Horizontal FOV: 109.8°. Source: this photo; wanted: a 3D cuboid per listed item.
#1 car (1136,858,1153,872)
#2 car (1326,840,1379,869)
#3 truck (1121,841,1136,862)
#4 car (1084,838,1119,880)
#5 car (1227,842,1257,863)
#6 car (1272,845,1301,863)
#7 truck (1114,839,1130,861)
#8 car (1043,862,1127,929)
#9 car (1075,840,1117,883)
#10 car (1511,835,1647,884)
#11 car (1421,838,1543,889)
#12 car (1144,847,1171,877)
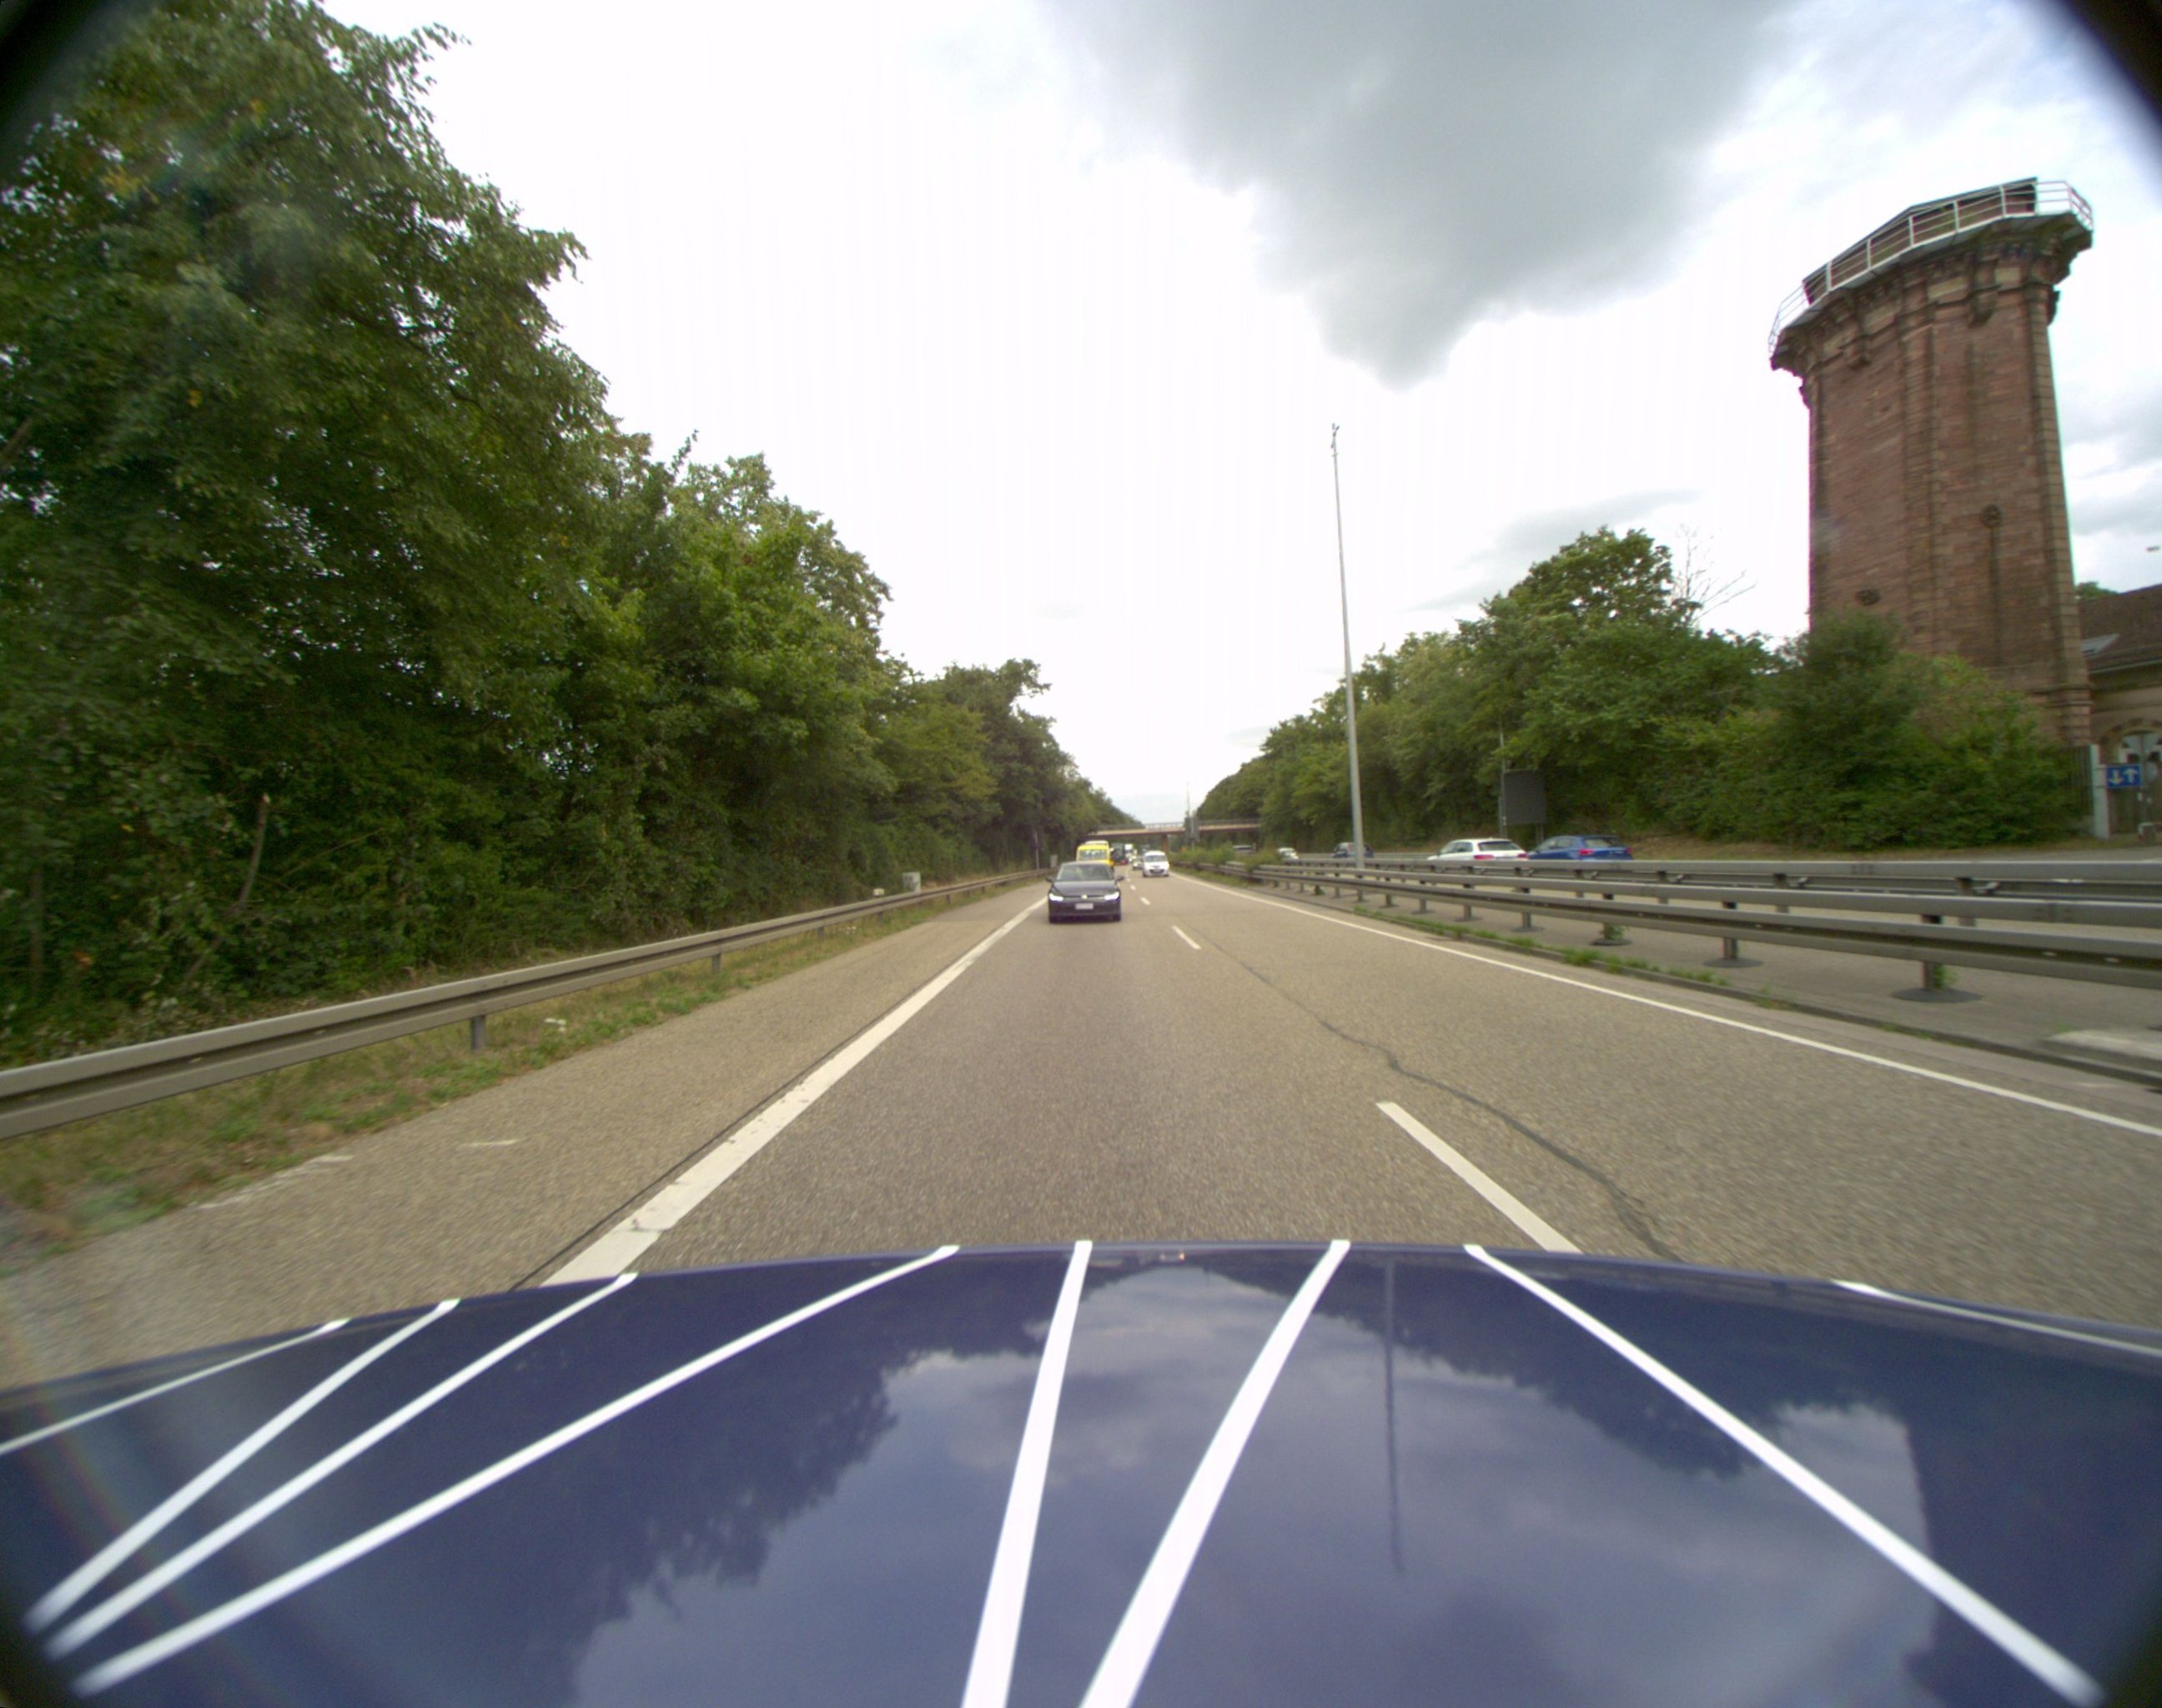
[{"bbox_3d":[6.916,1.139,83.010,1.772,1.416,4.199,-2,0,5],"label":"car"},{"bbox_3d":[16.334,0.014,45.904,1.735,1.592,4.131,-2,0,1],"label":"car"},{"bbox_3d":[10.822,-0.581,172.790,3.098,4.462,12.212,-1,0,5],"label":"truck"},{"bbox_3d":[1.450,0.327,53.004,2.207,2.732,6.168,-2,0,2],"label":"car"},{"bbox_3d":[14.078,-0.159,66.677,1.765,1.759,4.542,-2,0,3],"label":"car"},{"bbox_3d":[18.311,-0.014,67.779,1.632,1.499,3.728,-2,0,2],"label":"car"},{"bbox_3d":[7.127,-0.674,132.358,2.547,3.564,6.458,-1,0,5],"label":"truck"},{"bbox_3d":[0.232,0.971,19.541,1.800,1.398,4.640,-2,0,4],"label":"car"},{"bbox_3d":[0.949,0.404,44.686,2.247,2.334,5.224,-2,0,2],"label":"car"},{"bbox_3d":[16.196,0.157,24.965,1.816,1.441,4.056,-2,0,1],"label":"car"},{"bbox_3d":[12.501,0.269,24.009,1.716,1.418,4.056,-2,0,1],"label":"car"},{"bbox_3d":[5.562,0.547,55.354,1.821,1.993,4.424,-1,0,5],"label":"car"}]
